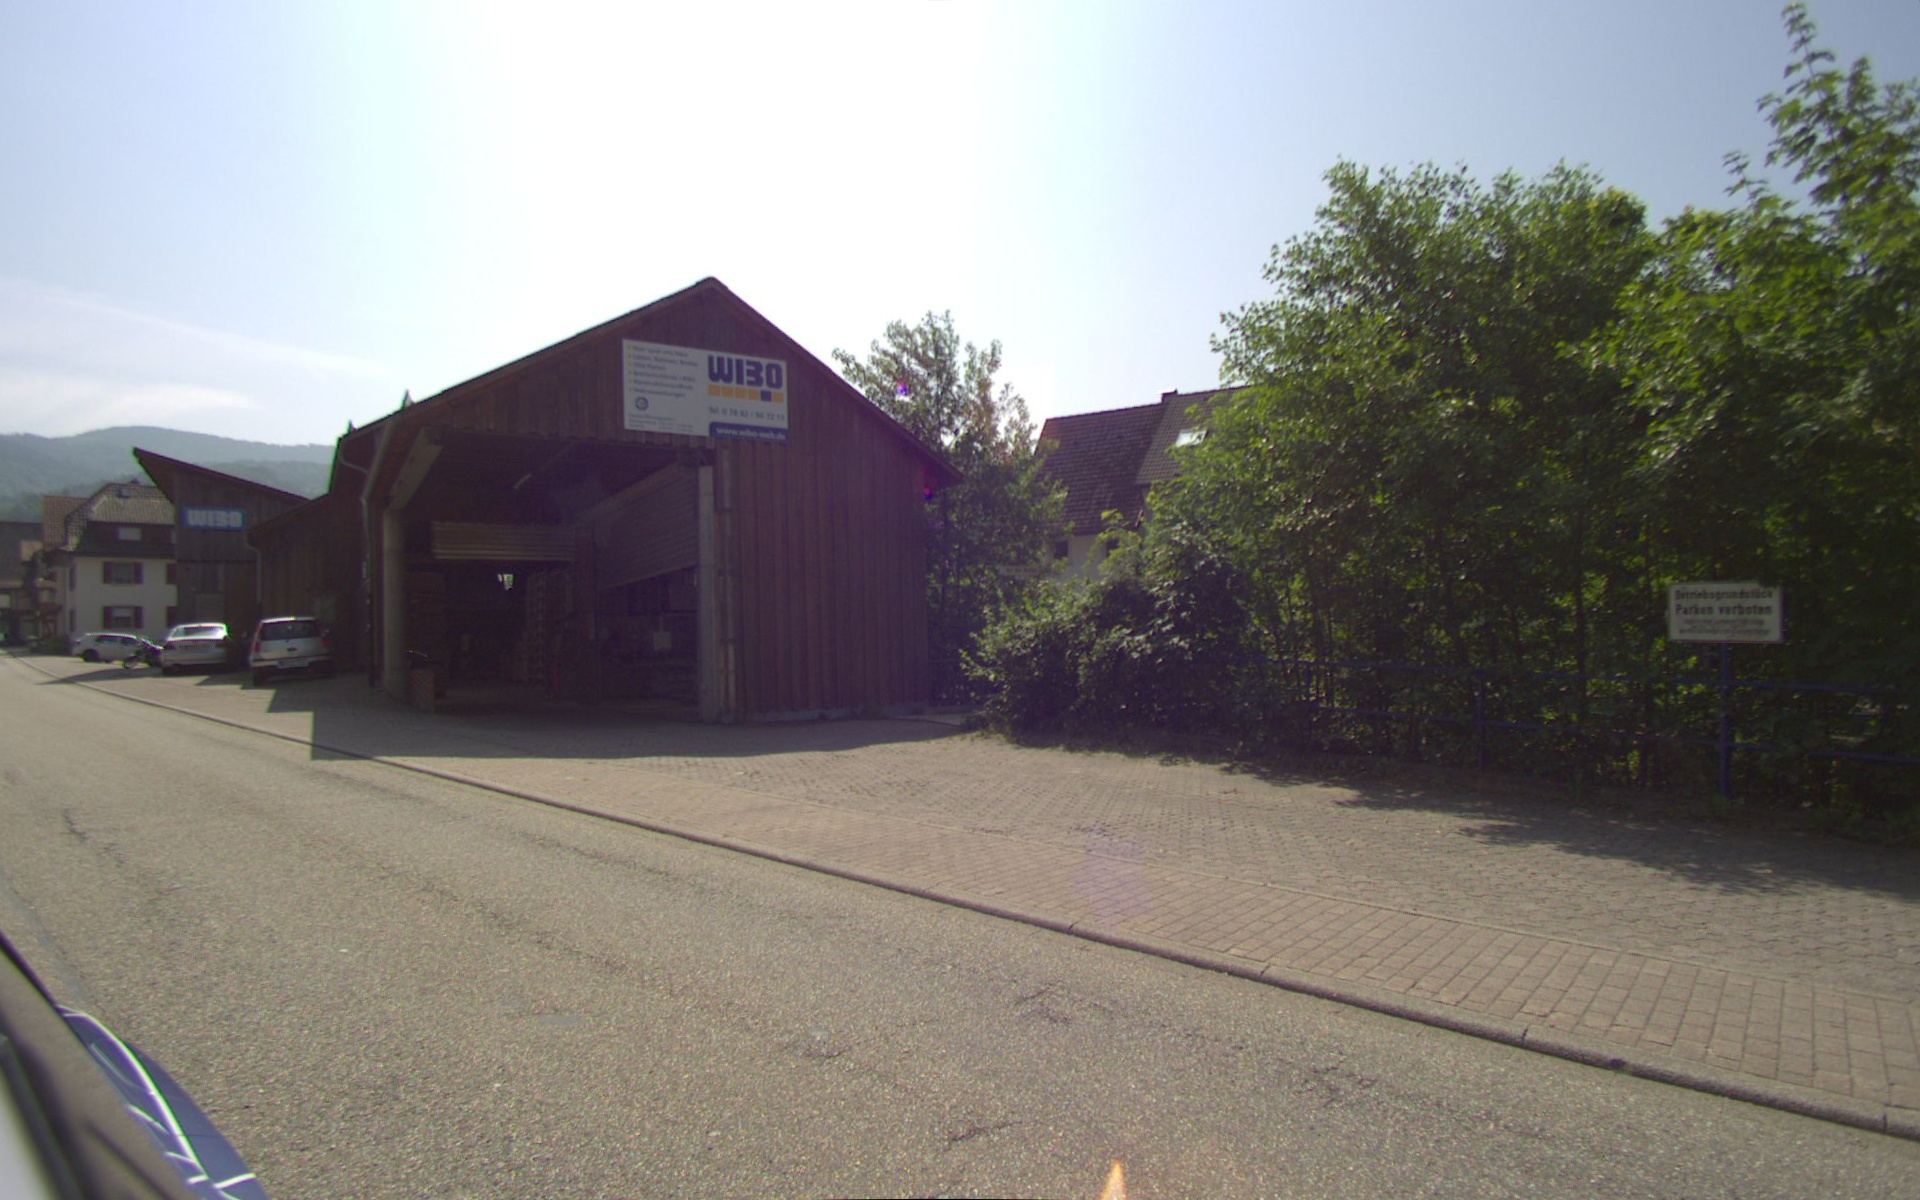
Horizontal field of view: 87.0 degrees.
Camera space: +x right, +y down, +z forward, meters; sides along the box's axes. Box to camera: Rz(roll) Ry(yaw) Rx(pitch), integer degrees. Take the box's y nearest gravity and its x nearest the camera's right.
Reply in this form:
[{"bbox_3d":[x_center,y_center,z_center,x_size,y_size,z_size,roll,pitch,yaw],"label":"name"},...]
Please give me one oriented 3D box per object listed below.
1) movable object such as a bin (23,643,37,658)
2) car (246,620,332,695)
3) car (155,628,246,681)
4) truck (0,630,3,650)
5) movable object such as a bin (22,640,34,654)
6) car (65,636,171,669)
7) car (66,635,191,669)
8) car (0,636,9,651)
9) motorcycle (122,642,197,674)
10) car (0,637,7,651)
[{"bbox_3d":[-64.691,3.512,70.419,0.621,1.075,0.668,-2,-2,44],"label":"movable object such as a bin"},{"bbox_3d":[-16.431,1.365,24.852,1.559,1.582,4.034,-4,0,-33],"label":"car"},{"bbox_3d":[-23.157,1.664,31.008,1.705,1.465,4.818,0,-2,-31],"label":"car"},{"bbox_3d":[-112.122,4.599,115.445,1.998,2.283,4.124,-2,-1,40],"label":"truck"},{"bbox_3d":[-78.309,3.933,85.029,0.709,1.190,0.598,3,-4,-44],"label":"movable object such as a bin"},{"bbox_3d":[-40.566,2.523,48.855,3.608,1.396,1.716,5,-4,-29],"label":"car"},{"bbox_3d":[-41.792,2.646,50.990,4.367,1.486,1.930,3,-4,-19],"label":"car"},{"bbox_3d":[-102.322,4.623,107.452,4.285,1.565,1.750,-2,-1,43],"label":"car"},{"bbox_3d":[-32.891,2.376,41.632,2.376,1.274,0.745,1,-3,-35],"label":"motorcycle"},{"bbox_3d":[-108.398,4.886,112.128,1.754,1.514,4.049,-3,-3,43],"label":"car"}]
